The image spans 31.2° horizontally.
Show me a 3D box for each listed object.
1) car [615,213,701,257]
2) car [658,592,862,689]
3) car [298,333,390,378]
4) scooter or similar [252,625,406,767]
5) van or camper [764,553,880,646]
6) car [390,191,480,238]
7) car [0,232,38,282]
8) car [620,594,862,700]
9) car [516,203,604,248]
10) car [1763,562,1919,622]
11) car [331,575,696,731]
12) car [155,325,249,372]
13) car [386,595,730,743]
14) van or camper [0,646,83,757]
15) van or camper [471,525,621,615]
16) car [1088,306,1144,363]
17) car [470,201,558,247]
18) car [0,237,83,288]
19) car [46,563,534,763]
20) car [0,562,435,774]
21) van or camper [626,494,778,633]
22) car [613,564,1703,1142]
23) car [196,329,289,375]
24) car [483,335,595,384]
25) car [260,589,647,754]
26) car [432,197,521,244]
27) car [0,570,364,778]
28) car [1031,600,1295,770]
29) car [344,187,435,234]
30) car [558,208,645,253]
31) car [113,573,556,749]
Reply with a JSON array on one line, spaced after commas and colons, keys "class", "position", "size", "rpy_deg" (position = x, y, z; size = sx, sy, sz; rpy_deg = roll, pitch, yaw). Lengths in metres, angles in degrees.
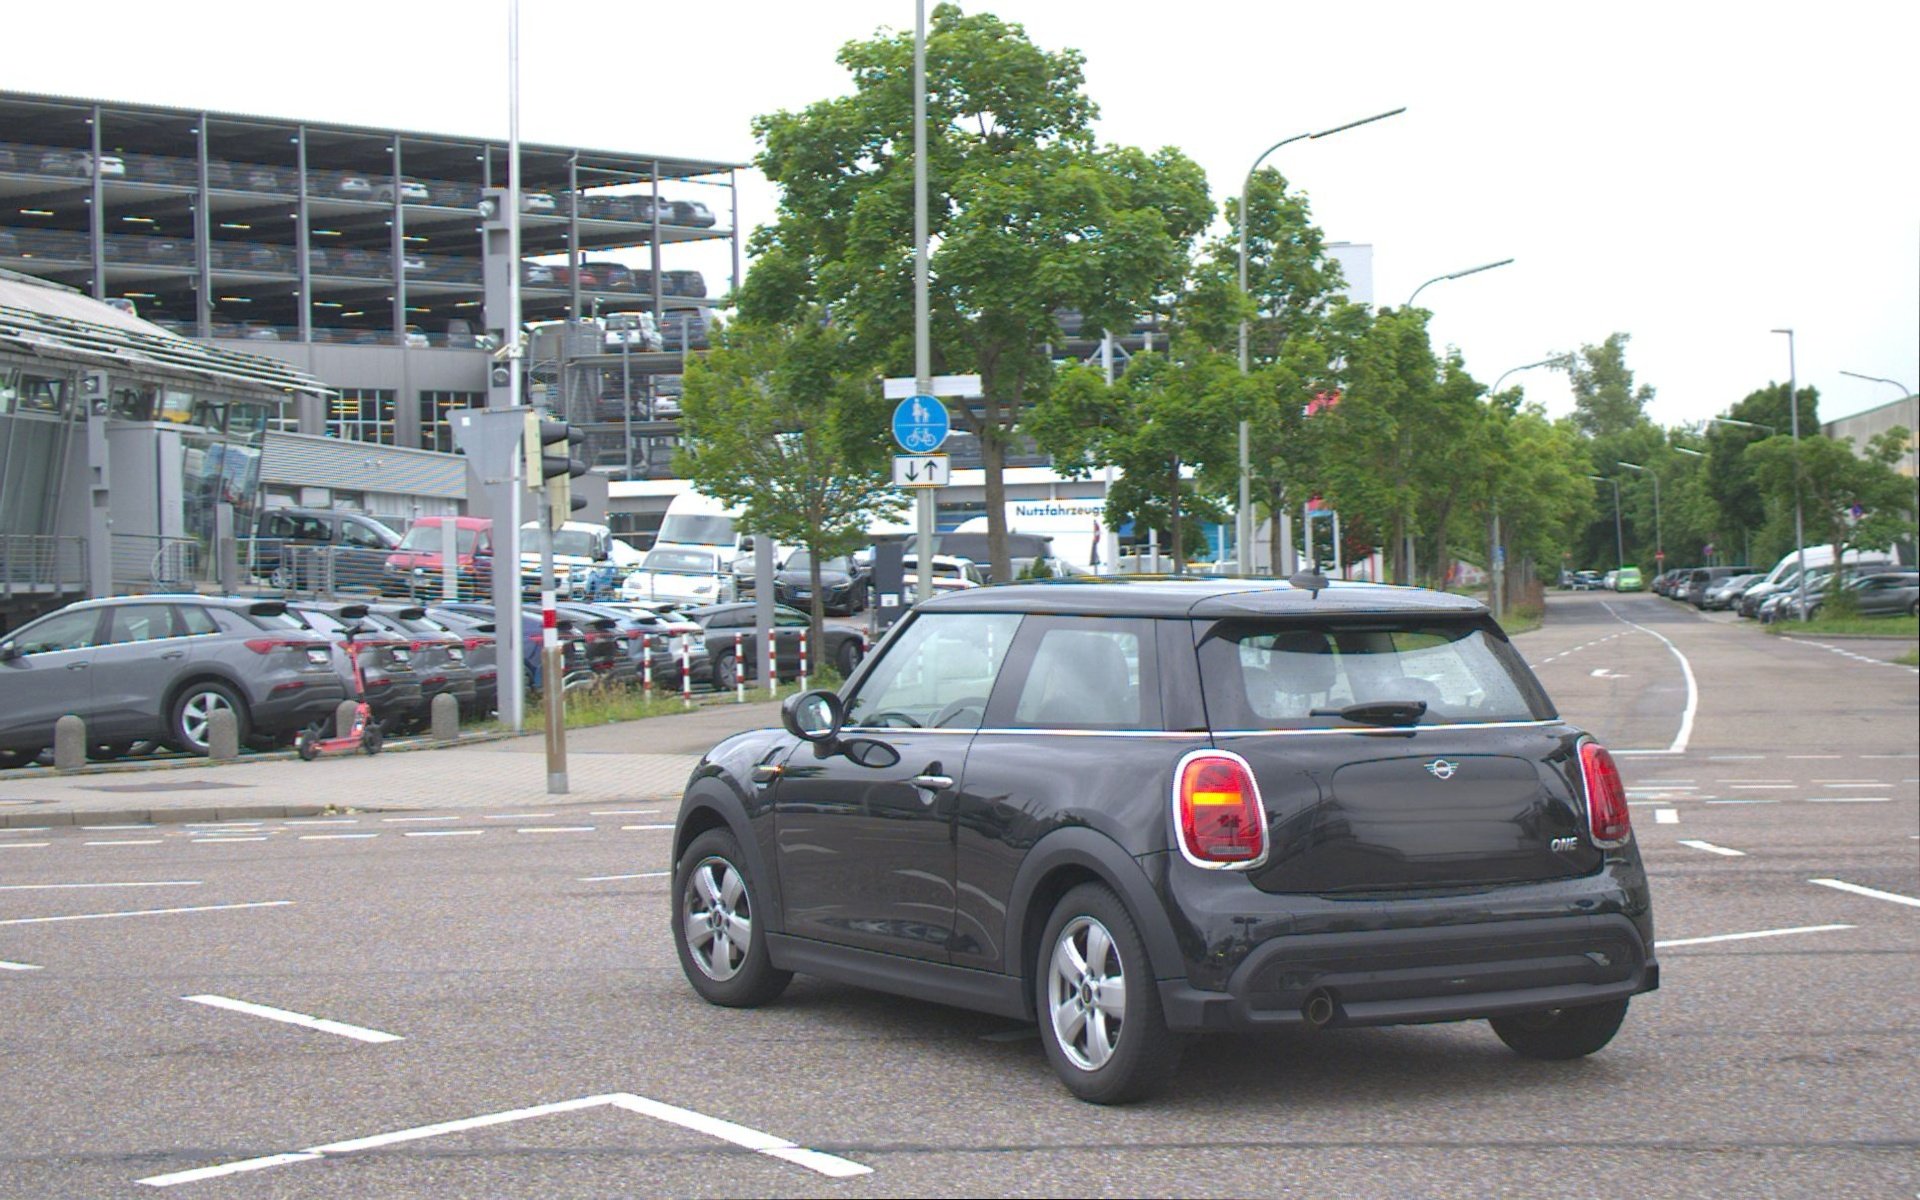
[{"class": "car", "position": [-14.695, -17.728, 167.135], "size": [3.997, 1.662, 1.995], "rpy_deg": [0, 0, 43]}, {"class": "car", "position": [-4.236, 0.866, 73.214], "size": [3.988, 2.007, 1.999], "rpy_deg": [0, -1, 8]}, {"class": "car", "position": [-27.343, -10.836, 152.548], "size": [3.997, 1.662, 1.995], "rpy_deg": [0, 0, 43]}, {"class": "scooter or similar", "position": [-5.693, 0.850, 31.078], "size": [0.558, 1.214, 1.558], "rpy_deg": [2, 1, 25]}, {"class": "van or camper", "position": [-3.092, 0.014, 77.822], "size": [1.994, 2.007, 3.999], "rpy_deg": [0, -1, 7]}, {"class": "car", "position": [-23.879, -17.520, 156.440], "size": [3.997, 1.662, 1.995], "rpy_deg": [0, 0, 43]}, {"class": "car", "position": [-39.248, -13.821, 138.966], "size": [3.997, 1.662, 1.995], "rpy_deg": [0, 0, 43]}, {"class": "car", "position": [-3.849, 0.832, 60.858], "size": [3.988, 1.832, 1.759], "rpy_deg": [0, -1, 8]}, {"class": "car", "position": [-18.914, -17.672, 162.400], "size": [3.997, 1.662, 1.995], "rpy_deg": [0, 0, 43]}, {"class": "car", "position": [26.468, -0.218, 101.611], "size": [5.175, 1.714, 2.143], "rpy_deg": [0, -1, 9]}, {"class": "car", "position": [-6.523, 0.781, 50.503], "size": [4.894, 2.007, 1.999], "rpy_deg": [-3, -1, 6]}, {"class": "car", "position": [-32.371, -10.734, 146.790], "size": [3.997, 1.662, 1.995], "rpy_deg": [0, 0, 43]}, {"class": "car", "position": [-6.201, 1.067, 53.319], "size": [4.894, 2.007, 1.999], "rpy_deg": [-3, -1, 6]}, {"class": "van or camper", "position": [-16.172, 1.580, 54.483], "size": [3.988, 1.706, 1.846], "rpy_deg": [0, -1, 7]}, {"class": "van or camper", "position": [-8.058, -0.564, 67.245], "size": [1.994, 1.645, 3.999], "rpy_deg": [0, -1, 7]}, {"class": "car", "position": [6.429, -10.913, 141.466], "size": [1.994, 1.876, 3.999], "rpy_deg": [-2, -1, 7]}, {"class": "car", "position": [-20.825, -17.556, 160.528], "size": [3.997, 1.662, 1.995], "rpy_deg": [0, 0, 43]}, {"class": "car", "position": [-37.880, -13.787, 140.724], "size": [3.997, 1.662, 1.995], "rpy_deg": [0, 0, 43]}, {"class": "car", "position": [-7.717, 0.735, 39.880], "size": [5.024, 2.007, 2.265], "rpy_deg": [-3, -1, 6]}, {"class": "car", "position": [-8.240, 0.746, 36.919], "size": [4.702, 2.007, 1.999], "rpy_deg": [-3, -1, 7]}, {"class": "van or camper", "position": [-5.837, -0.789, 78.390], "size": [2.536, 3.016, 4.842], "rpy_deg": [0, -1, 7]}, {"class": "car", "position": [0.416, 0.616, 10.624], "size": [1.785, 1.411, 3.644], "rpy_deg": [-2, 1, -26]}, {"class": "car", "position": [-31.015, -10.698, 148.531], "size": [3.997, 1.662, 1.995], "rpy_deg": [0, 0, 43]}, {"class": "car", "position": [-19.970, -11.379, 162.997], "size": [5.326, 1.938, 2.206], "rpy_deg": [0, 0, 39]}, {"class": "car", "position": [-7.003, 1.002, 47.823], "size": [4.894, 2.007, 1.999], "rpy_deg": [-3, -1, 6]}, {"class": "car", "position": [-22.329, -17.513, 158.808], "size": [3.997, 1.662, 1.995], "rpy_deg": [0, 0, 43]}, {"class": "car", "position": [-8.602, 0.782, 34.372], "size": [4.773, 1.856, 1.999], "rpy_deg": [-3, -1, 6]}, {"class": "car", "position": [2.106, 0.798, 34.290], "size": [1.979, 1.546, 4.611], "rpy_deg": [-1, 0, 11]}, {"class": "car", "position": [-25.648, -17.484, 154.444], "size": [3.997, 1.662, 1.995], "rpy_deg": [0, 0, 43]}, {"class": "car", "position": [-17.144, -17.626, 164.200], "size": [3.997, 1.662, 1.995], "rpy_deg": [0, 0, 43]}, {"class": "car", "position": [-7.667, 0.762, 42.406], "size": [4.947, 1.870, 2.053], "rpy_deg": [-3, -2, 5]}]
